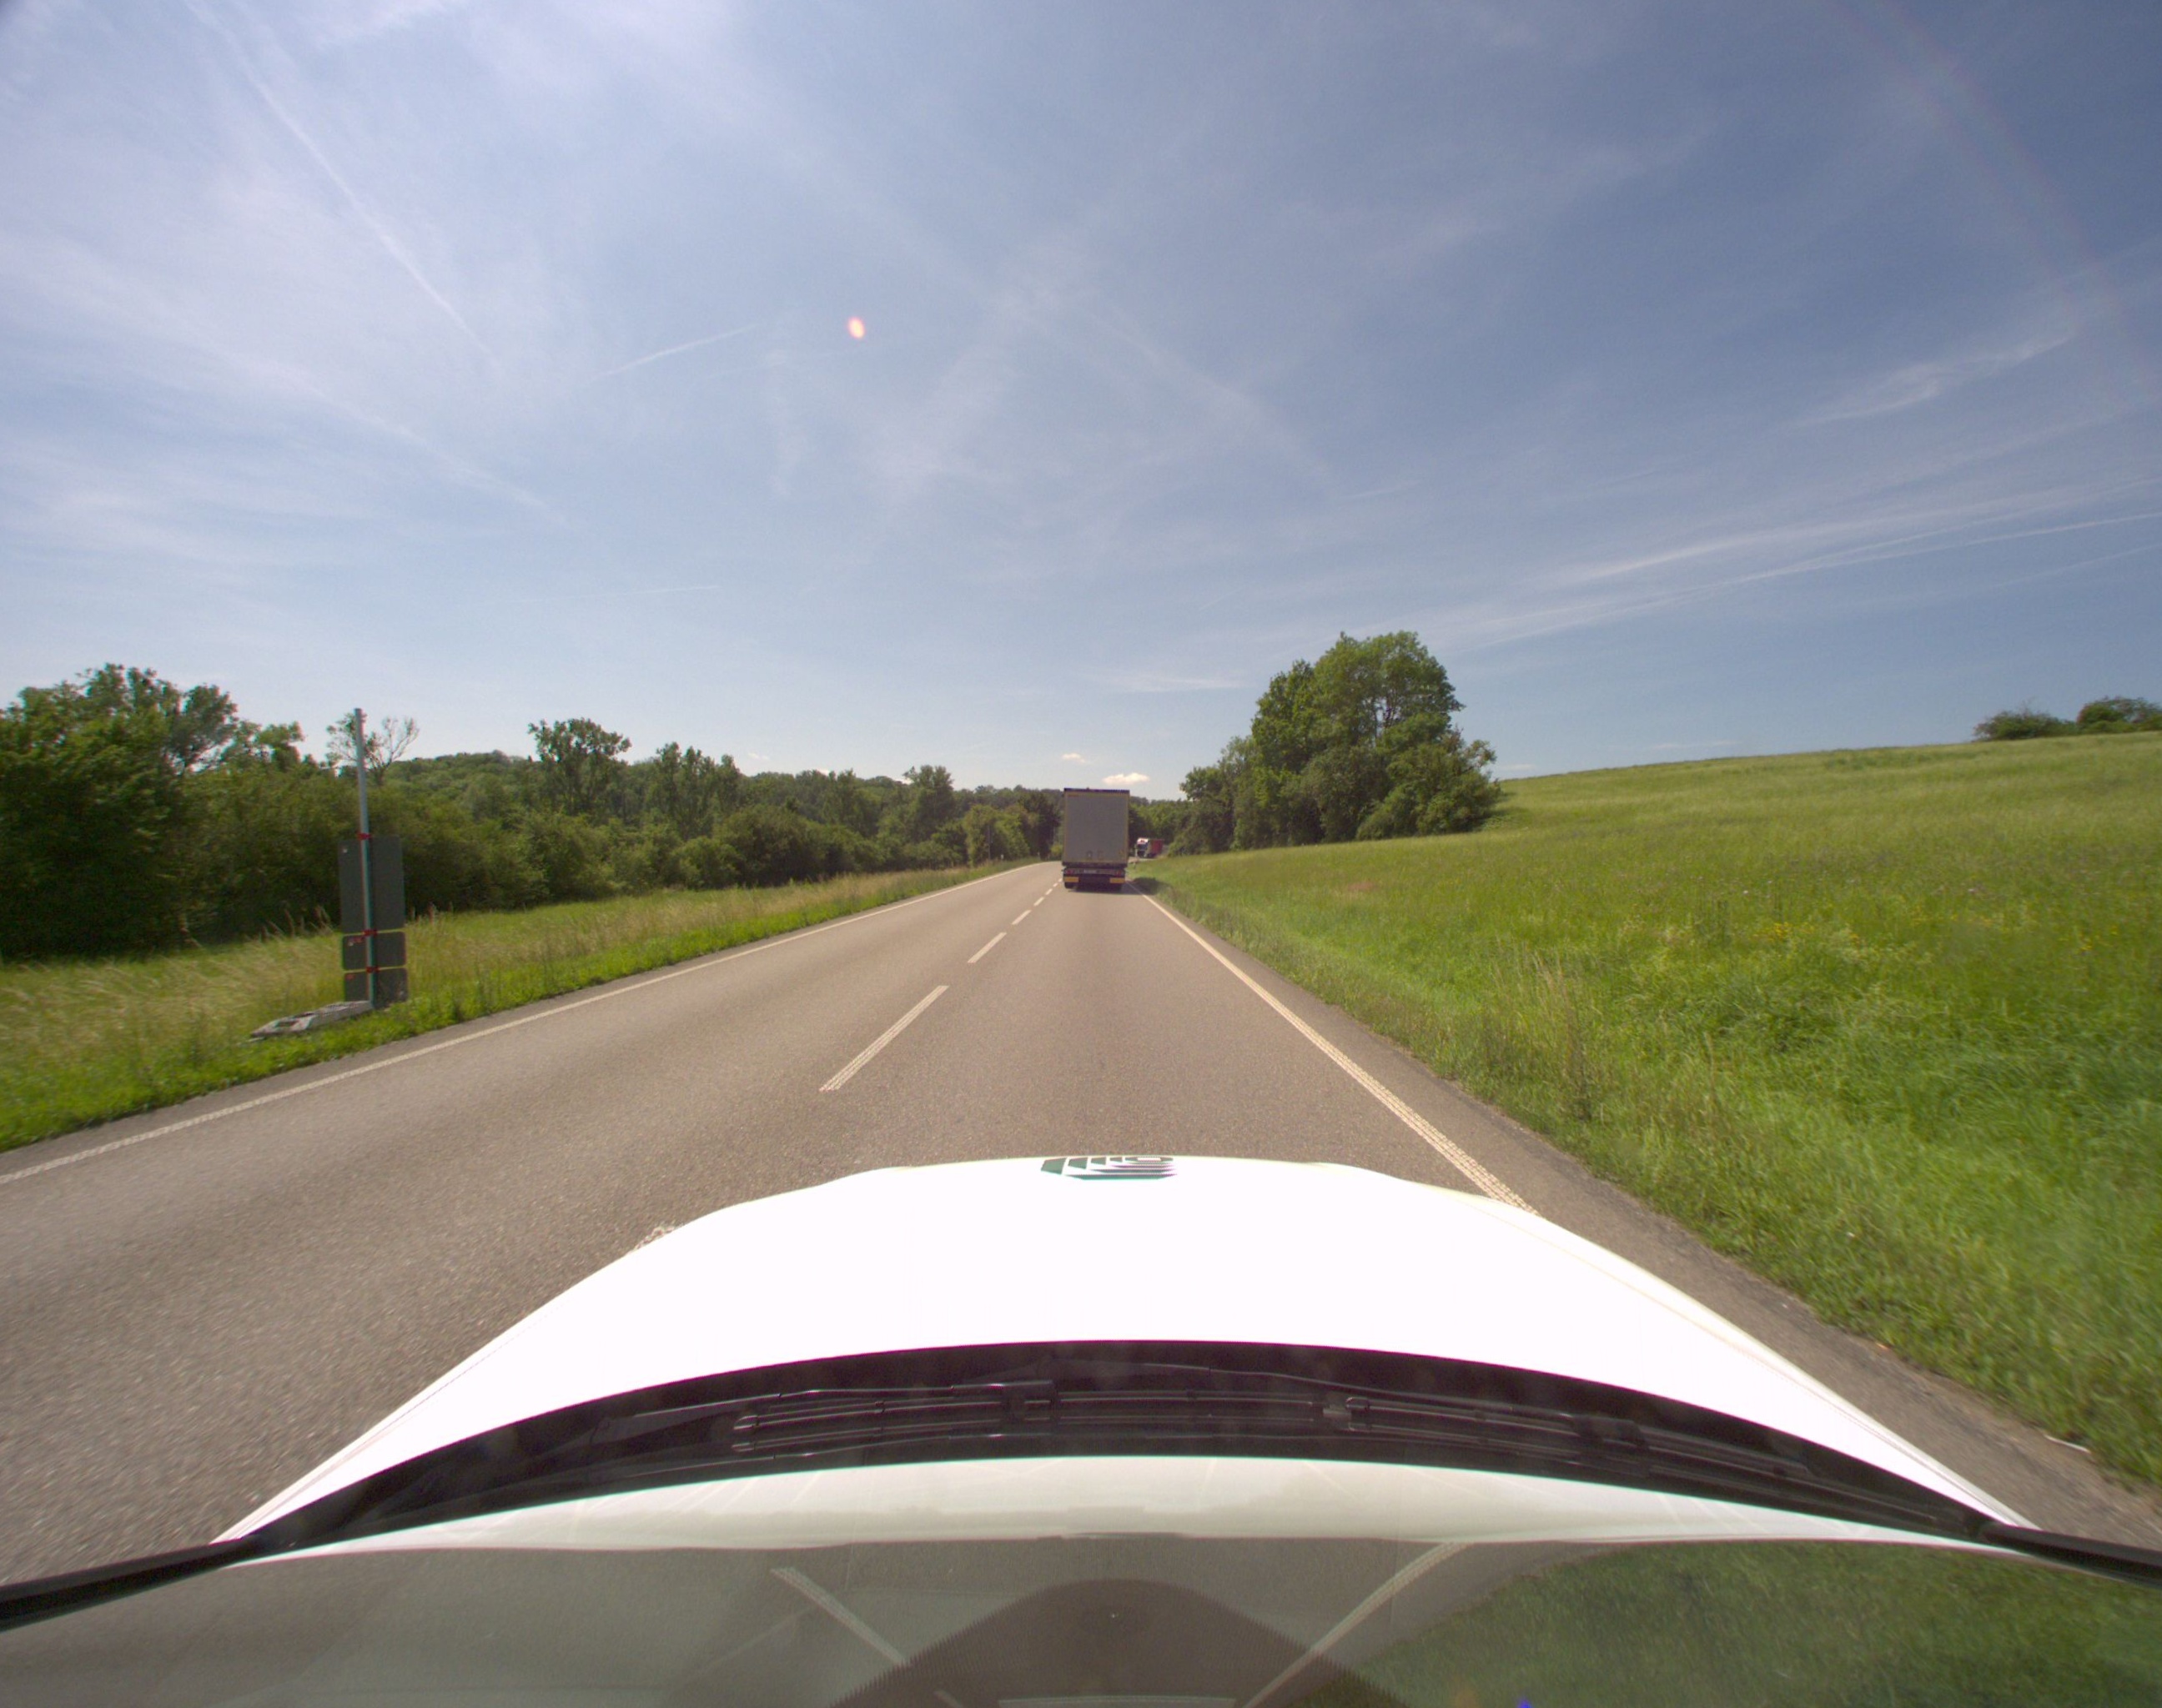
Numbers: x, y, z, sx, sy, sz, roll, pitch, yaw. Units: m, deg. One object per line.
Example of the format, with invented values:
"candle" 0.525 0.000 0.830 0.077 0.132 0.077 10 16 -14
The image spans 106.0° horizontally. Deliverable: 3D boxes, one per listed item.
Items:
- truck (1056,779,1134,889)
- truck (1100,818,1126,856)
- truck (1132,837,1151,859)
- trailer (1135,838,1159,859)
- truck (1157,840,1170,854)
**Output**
"truck" 0.598 -0.766 38.718 2.792 4.068 15.325 2 0 0
"truck" 4.428 -2.416 111.641 3.092 4.704 16.603 3 2 3
"truck" 12.210 -1.196 164.895 2.541 4.114 5.822 5 2 14
"trailer" 14.099 -1.285 172.472 2.550 4.106 13.715 5 2 14
"truck" 17.530 -1.547 172.319 2.341 2.825 5.069 -3 0 7
